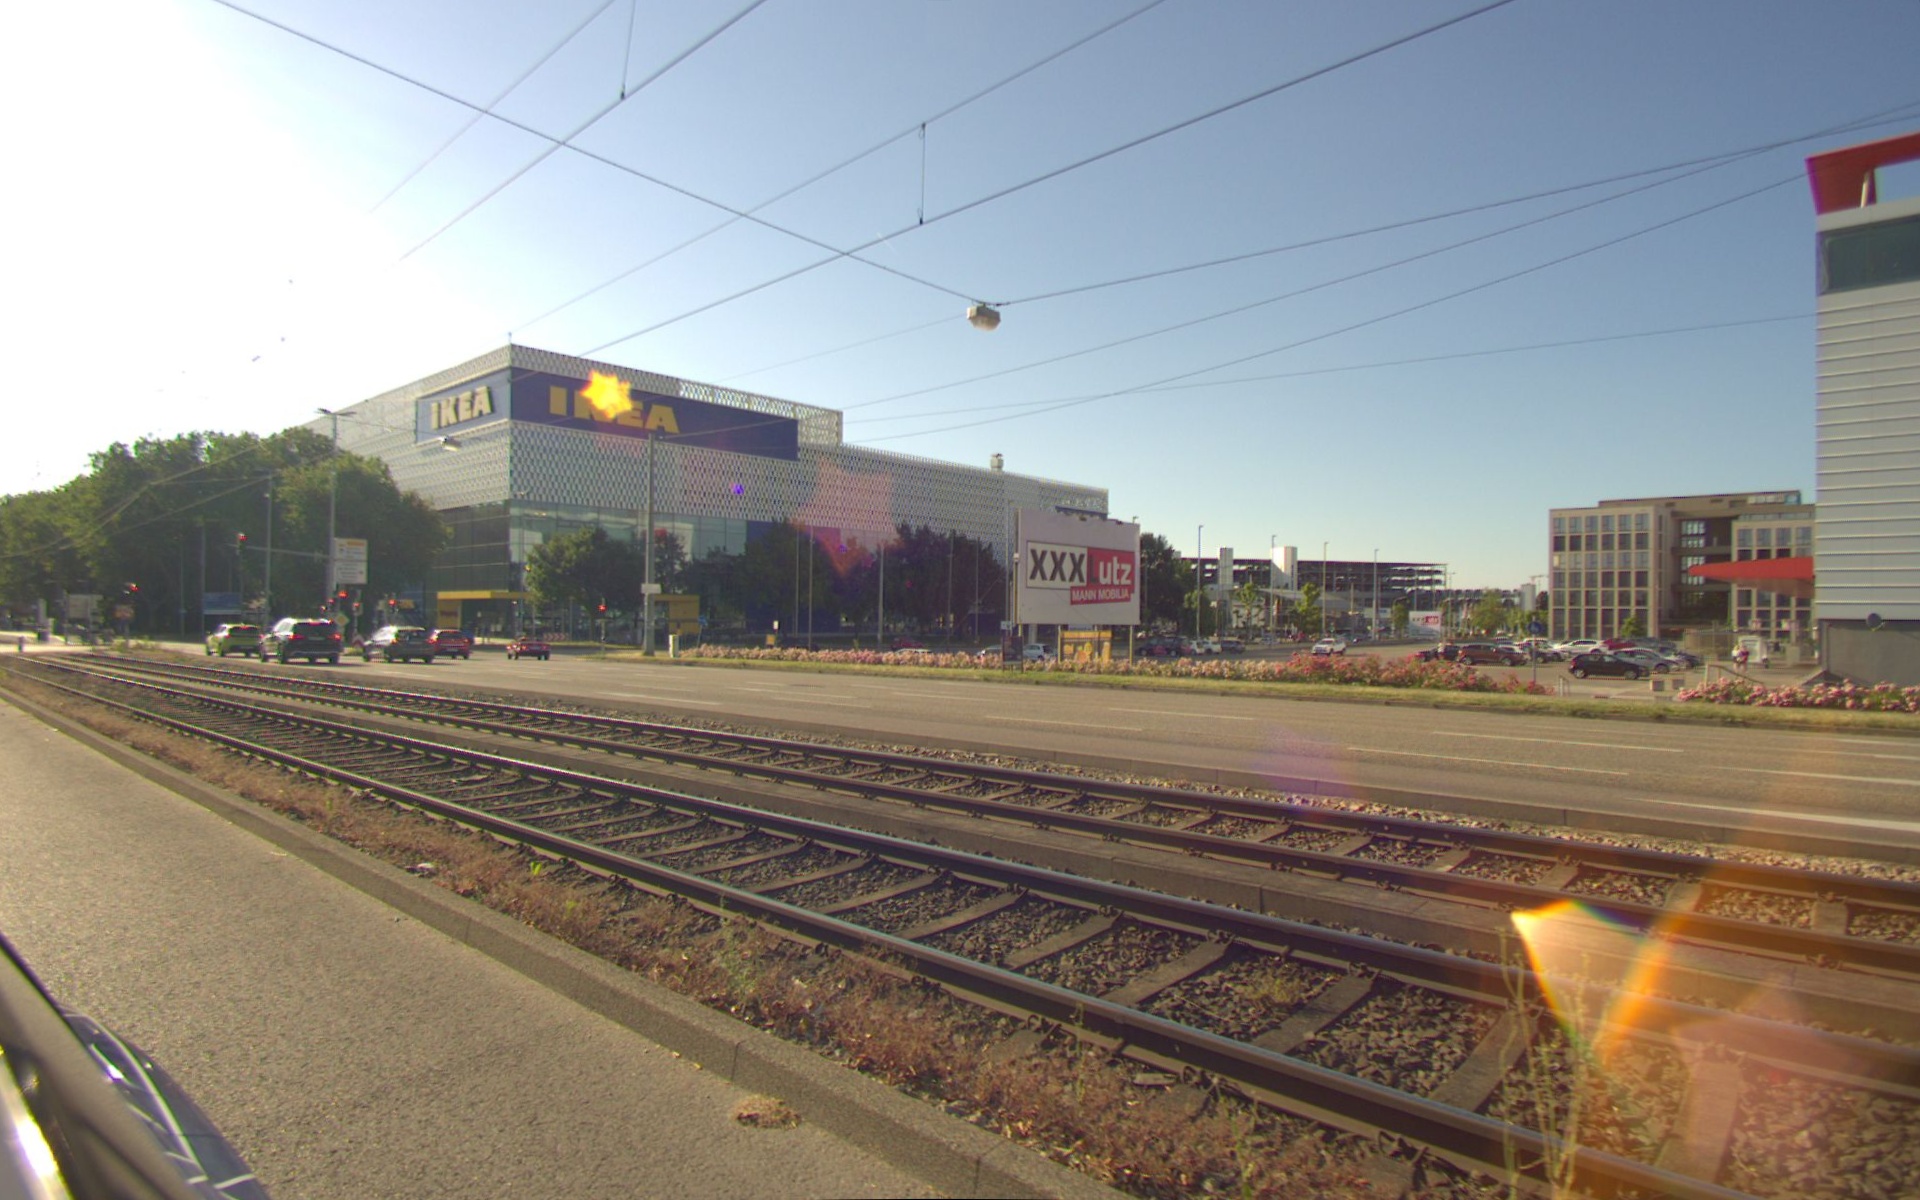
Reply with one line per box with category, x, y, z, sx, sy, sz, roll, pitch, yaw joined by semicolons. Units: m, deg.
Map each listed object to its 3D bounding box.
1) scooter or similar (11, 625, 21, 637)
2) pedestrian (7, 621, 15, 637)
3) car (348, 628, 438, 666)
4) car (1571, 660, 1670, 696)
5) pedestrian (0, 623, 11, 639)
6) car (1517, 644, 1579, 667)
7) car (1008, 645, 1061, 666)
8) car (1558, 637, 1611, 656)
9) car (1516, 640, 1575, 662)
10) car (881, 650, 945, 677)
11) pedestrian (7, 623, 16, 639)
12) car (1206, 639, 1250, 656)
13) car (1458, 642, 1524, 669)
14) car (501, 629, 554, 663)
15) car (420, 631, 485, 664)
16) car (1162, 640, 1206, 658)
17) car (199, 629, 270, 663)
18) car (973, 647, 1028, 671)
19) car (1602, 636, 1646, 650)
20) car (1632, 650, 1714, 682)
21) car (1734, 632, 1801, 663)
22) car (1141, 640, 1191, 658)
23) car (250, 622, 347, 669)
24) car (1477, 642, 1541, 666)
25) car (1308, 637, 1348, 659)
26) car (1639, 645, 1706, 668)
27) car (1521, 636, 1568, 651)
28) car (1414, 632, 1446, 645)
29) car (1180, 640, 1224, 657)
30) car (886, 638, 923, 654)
scooter or similar;-97.169;3.210;104.173;1.372;1.244;0.657;-1;-1;42
pedestrian;-99.376;3.057;105.973;0.595;1.632;0.691;-1;0;-44
car;-22.923;1.864;40.867;4.134;1.472;1.838;-2;-2;40
car;37.187;4.370;57.069;4.446;1.715;1.901;-2;1;41
pedestrian;-102.809;3.323;108.989;0.687;1.704;0.724;-2;1;41
car;46.099;4.310;79.375;3.995;1.631;1.856;-2;1;38
car;6.212;4.614;84.402;3.995;1.605;1.911;-2;1;38
car;57.506;4.244;93.186;3.991;1.631;1.857;-2;1;36
car;48.449;4.179;83.818;3.995;1.631;1.856;-2;1;38
car;-3.461;4.597;73.838;4.410;1.723;1.975;-2;1;37
pedestrian;-100.294;3.288;107.022;0.644;1.632;0.636;-1;0;-44
car;28.118;5.016;106.339;3.999;1.668;1.972;-1;-2;42
car;39.542;4.089;75.359;3.998;1.827;1.973;-2;1;41
car;-22.378;2.367;52.265;1.796;1.655;4.010;2;-3;-34
car;-25.100;2.326;49.962;1.911;1.488;4.138;4;-3;-40
car;22.506;4.912;101.817;3.999;1.668;1.704;-1;-2;43
car;-32.785;2.042;45.703;4.107;1.459;1.764;-1;-3;42
car;3.201;4.676;80.879;3.995;1.758;1.911;-2;1;38
car;70.674;4.544;107.714;1.635;1.379;3.668;-2;1;-45
car;44.092;4.065;62.612;3.998;1.715;1.901;-2;1;41
car;52.740;3.053;66.139;3.290;1.869;1.489;-1;1;44
car;19.878;4.693;97.776;4.432;1.563;1.652;-2;1;38
car;-25.188;1.688;38.455;4.658;1.668;1.972;-1;-3;43
car;41.678;4.084;76.826;3.995;1.631;1.856;-2;1;38
car;35.663;4.661;98.007;4.165;1.813;1.829;-2;1;-42
car;49.781;3.933;70.735;3.666;1.379;1.635;-1;1;44
car;62.263;4.599;107.764;4.001;1.459;1.853;-1;1;44
car;71.781;5.837;154.671;4.000;1.794;1.972;-1;1;43
car;24.768;4.928;103.604;3.999;1.668;1.777;-1;-2;43
car;-5.623;4.693;103.284;1.770;1.471;3.537;0;-3;40
